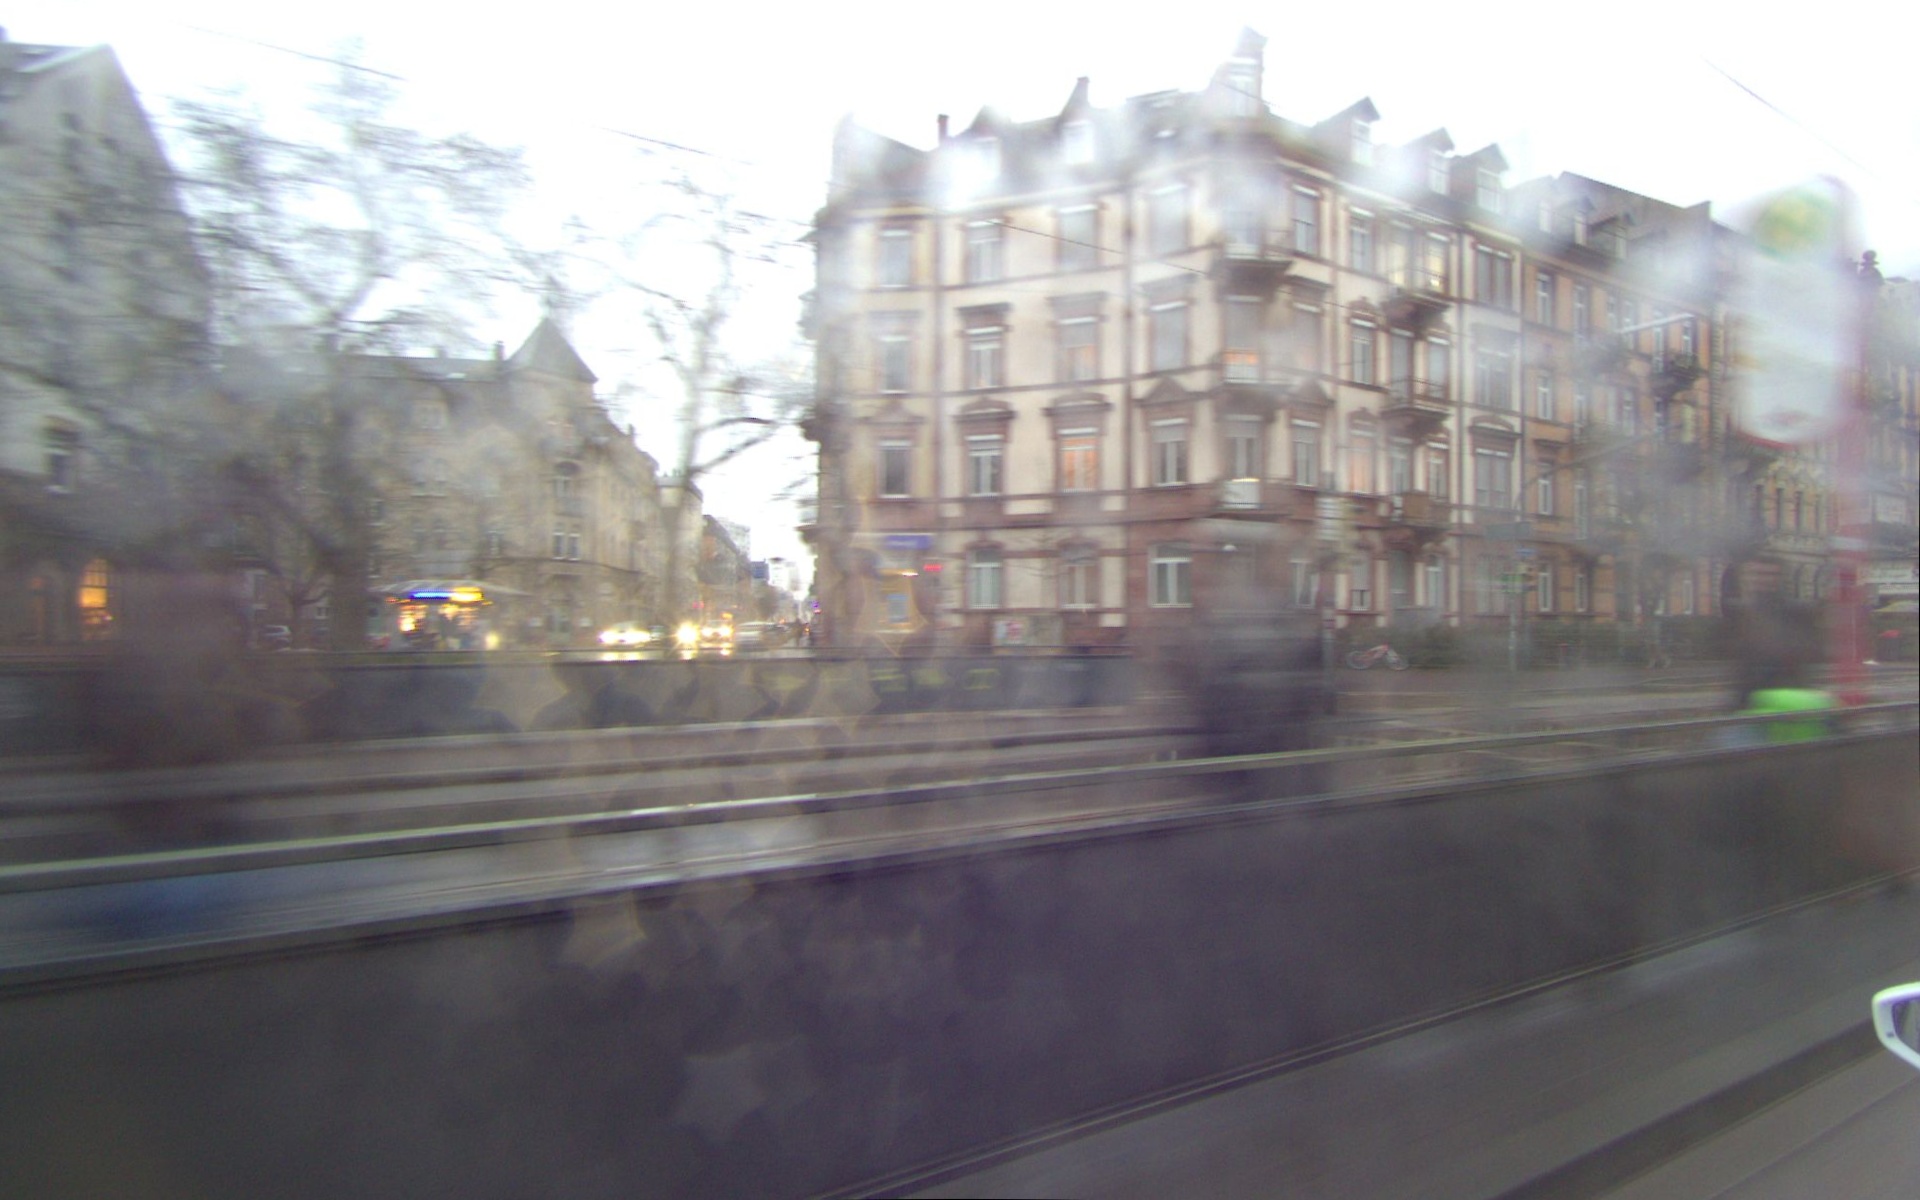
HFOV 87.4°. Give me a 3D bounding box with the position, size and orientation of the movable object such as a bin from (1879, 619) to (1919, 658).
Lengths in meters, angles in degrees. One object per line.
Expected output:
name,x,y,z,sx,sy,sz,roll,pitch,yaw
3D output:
movable object such as a bin,40.552,1.638,43.117,1.290,1.607,1.240,1,0,-25

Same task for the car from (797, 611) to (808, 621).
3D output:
car,-28.095,2.924,179.255,1.648,1.728,3.998,0,-1,-4

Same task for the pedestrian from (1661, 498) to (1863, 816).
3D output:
pedestrian,5.218,0.352,6.564,0.706,1.943,0.686,1,2,-18

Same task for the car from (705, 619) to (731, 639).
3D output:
car,-20.973,2.515,87.105,1.964,1.728,3.993,0,-1,-11

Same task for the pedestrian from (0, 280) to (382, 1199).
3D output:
pedestrian,-1.382,0.451,1.796,0.564,1.832,0.554,1,2,-29

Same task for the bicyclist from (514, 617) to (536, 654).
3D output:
bicyclist,-16.701,1.367,38.589,0.521,1.382,0.765,2,0,-6

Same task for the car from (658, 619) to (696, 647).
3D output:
car,-18.023,2.070,64.168,1.964,1.728,3.993,0,-2,-11

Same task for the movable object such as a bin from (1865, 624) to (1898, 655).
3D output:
movable object such as a bin,39.510,1.686,43.077,0.738,1.309,0.890,1,-1,-32

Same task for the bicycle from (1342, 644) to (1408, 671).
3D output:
bicycle,12.438,1.720,30.121,1.774,0.769,0.401,1,-1,6

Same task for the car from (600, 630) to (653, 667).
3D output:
car,-16.978,2.459,51.350,1.845,1.795,3.858,0,-2,-7

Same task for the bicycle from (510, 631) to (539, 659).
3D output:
bicycle,-16.730,1.715,38.643,0.483,1.020,1.810,0,-1,-6

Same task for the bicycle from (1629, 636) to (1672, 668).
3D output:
bicycle,22.905,1.708,33.304,1.827,1.020,0.414,1,-1,-29

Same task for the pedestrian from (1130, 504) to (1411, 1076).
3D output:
pedestrian,1.043,0.572,3.449,0.564,1.731,0.654,1,2,-29

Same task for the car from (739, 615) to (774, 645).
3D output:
car,-12.040,1.783,59.605,1.964,1.728,3.993,0,-2,-11

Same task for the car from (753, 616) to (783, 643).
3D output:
car,-13.094,2.013,68.491,1.964,1.728,3.993,0,-2,-11

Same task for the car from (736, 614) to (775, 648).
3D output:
car,-10.901,1.646,53.744,1.964,1.728,3.993,0,-2,-10

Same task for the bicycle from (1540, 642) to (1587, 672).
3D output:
bicycle,18.676,1.758,31.087,1.827,0.874,0.398,1,-1,-29
